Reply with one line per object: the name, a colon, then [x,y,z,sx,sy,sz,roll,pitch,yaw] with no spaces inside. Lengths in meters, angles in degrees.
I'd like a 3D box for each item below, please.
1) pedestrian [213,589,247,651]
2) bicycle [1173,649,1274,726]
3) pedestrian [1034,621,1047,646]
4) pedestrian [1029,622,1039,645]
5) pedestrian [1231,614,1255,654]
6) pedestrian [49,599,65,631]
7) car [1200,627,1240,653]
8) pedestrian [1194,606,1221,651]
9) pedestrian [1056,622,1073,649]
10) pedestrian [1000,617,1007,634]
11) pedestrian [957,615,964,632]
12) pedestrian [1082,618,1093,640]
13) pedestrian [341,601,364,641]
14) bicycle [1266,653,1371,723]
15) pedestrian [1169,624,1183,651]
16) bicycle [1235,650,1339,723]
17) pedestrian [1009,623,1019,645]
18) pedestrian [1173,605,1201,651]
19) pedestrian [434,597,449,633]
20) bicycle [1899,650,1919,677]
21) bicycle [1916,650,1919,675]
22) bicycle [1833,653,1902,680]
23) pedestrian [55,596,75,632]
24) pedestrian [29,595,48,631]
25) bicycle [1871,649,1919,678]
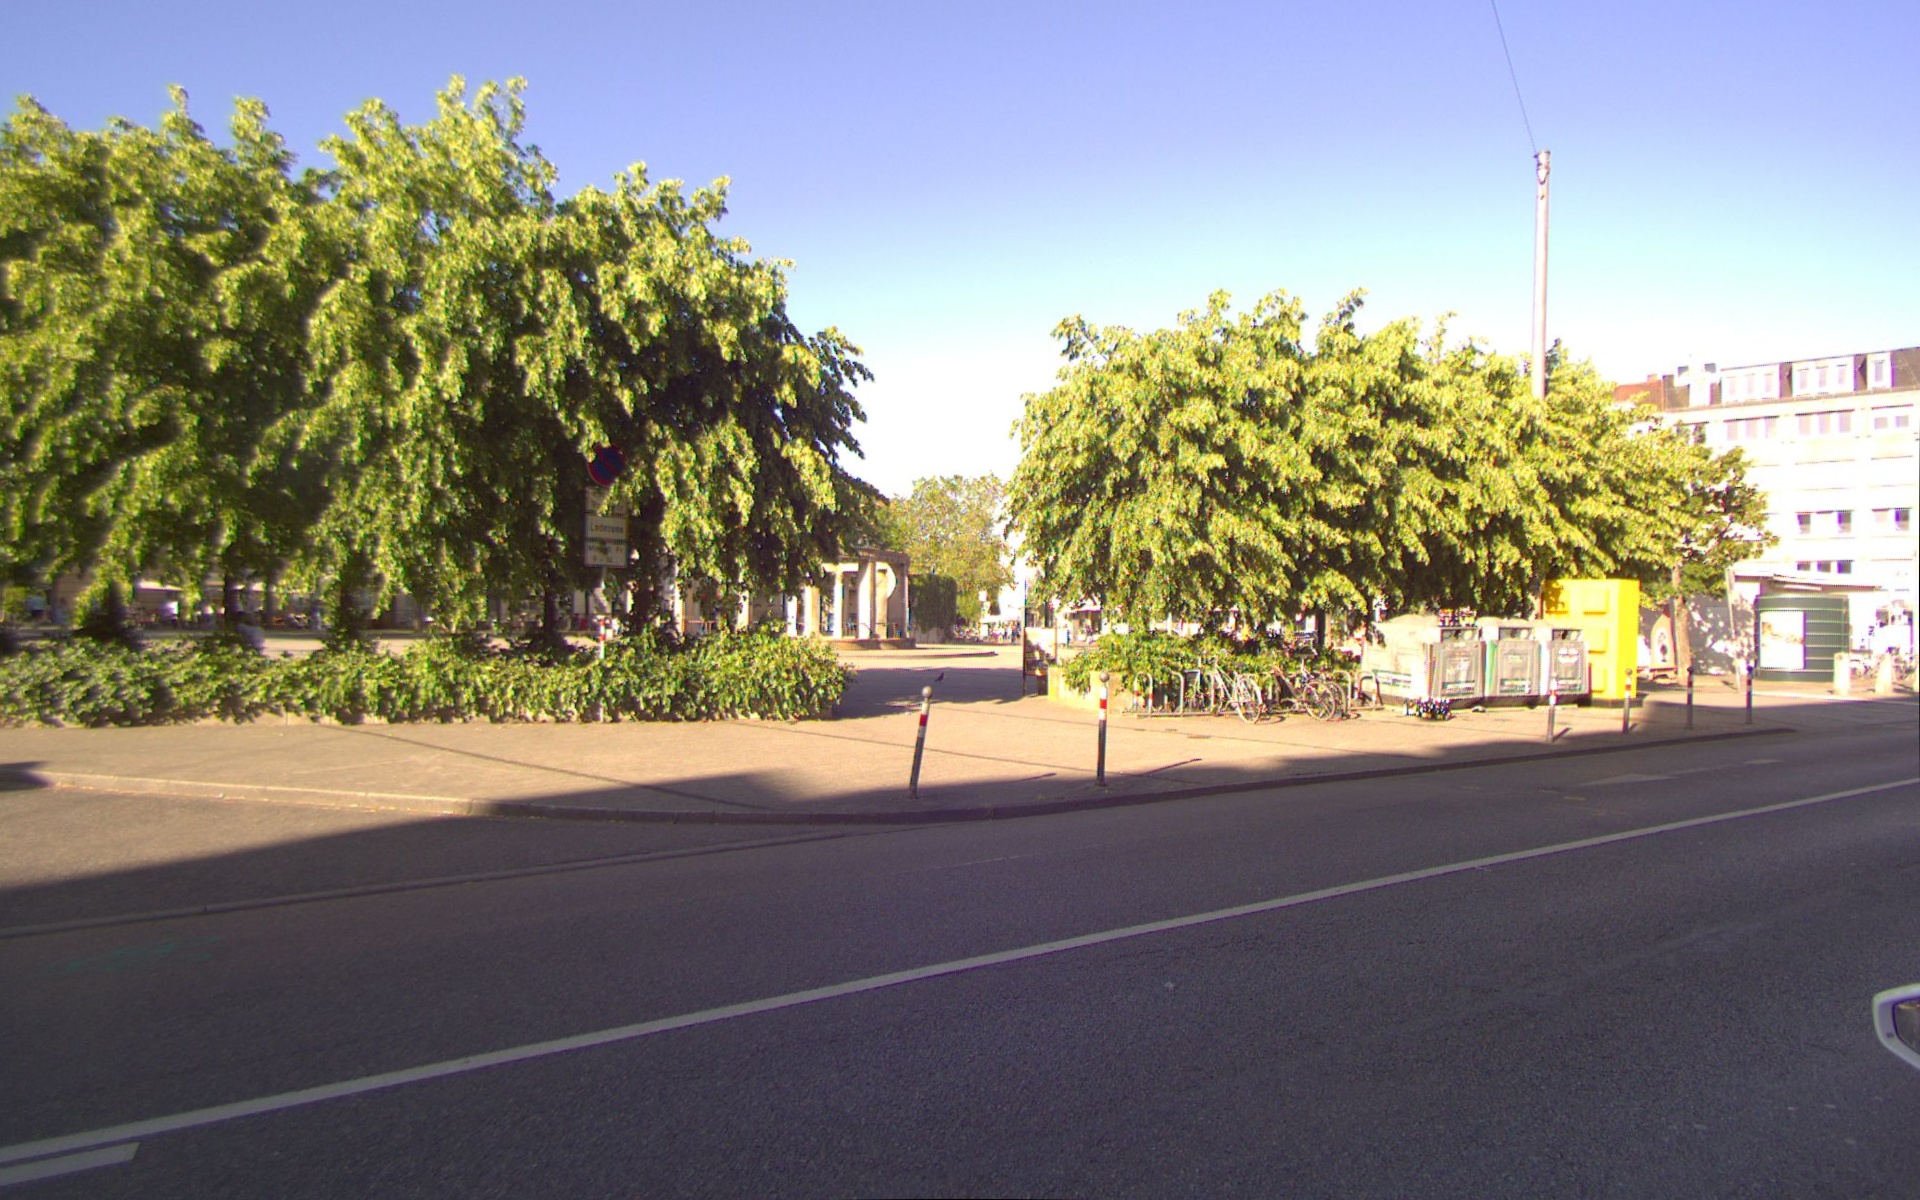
pedestrian: [-21.059,0.580,28.961,0.599,1.744,0.644,2,0,41]
bicycle: [4.066,1.329,15.648,0.508,1.029,1.930,2,0,-19]
pedestrian: [6.776,2.824,84.495,0.860,2.040,0.902,2,0,-5]
pedestrian: [6.396,2.878,86.837,0.628,1.974,0.676,2,0,-7]
pedestrian: [12.372,1.469,43.891,0.774,1.720,0.763,1,0,-6]
pedestrian: [-44.438,0.740,49.435,0.536,1.521,0.546,2,0,-42]
car: [15.296,2.343,59.173,1.658,1.405,3.575,1,-1,5]
pedestrian: [11.350,1.288,46.061,0.875,2.040,0.896,1,0,-17]
pedestrian: [7.932,2.696,76.237,1.014,2.040,1.159,2,0,-5]
pedestrian: [5.169,3.007,119.549,0.629,1.974,0.675,2,0,-13]
pedestrian: [0.092,2.868,122.243,0.629,1.974,0.675,2,0,-14]
pedestrian: [12.667,2.870,99.446,0.860,2.199,0.902,2,0,-5]
pedestrian: [-26.882,0.911,44.462,0.599,1.744,0.644,2,0,37]
bicycle: [5.822,1.404,16.410,0.508,0.968,1.898,2,0,-20]
pedestrian: [14.213,2.434,66.083,0.741,1.740,0.854,1,-1,4]
bicycle: [5.252,1.371,16.277,0.508,1.016,1.923,2,0,-20]
pedestrian: [4.599,2.873,85.293,0.718,1.862,0.697,2,0,-5]
pedestrian: [10.062,1.235,44.528,0.875,2.040,0.896,1,0,-17]
pedestrian: [-29.032,0.819,56.210,0.669,1.974,0.634,2,0,-33]
bicycle: [35.084,2.334,36.112,0.599,0.946,1.854,2,0,-30]
bicycle: [37.089,2.387,37.536,0.599,0.946,1.854,2,0,-30]
bicycle: [30.816,2.247,34.121,0.600,0.802,1.634,2,0,-33]
pedestrian: [-43.597,0.670,48.917,0.600,1.744,0.643,2,0,45]
pedestrian: [-44.884,0.621,48.921,0.600,1.744,0.643,2,0,45]
bicycle: [33.168,2.222,35.134,0.599,0.946,1.855,1,0,-30]
